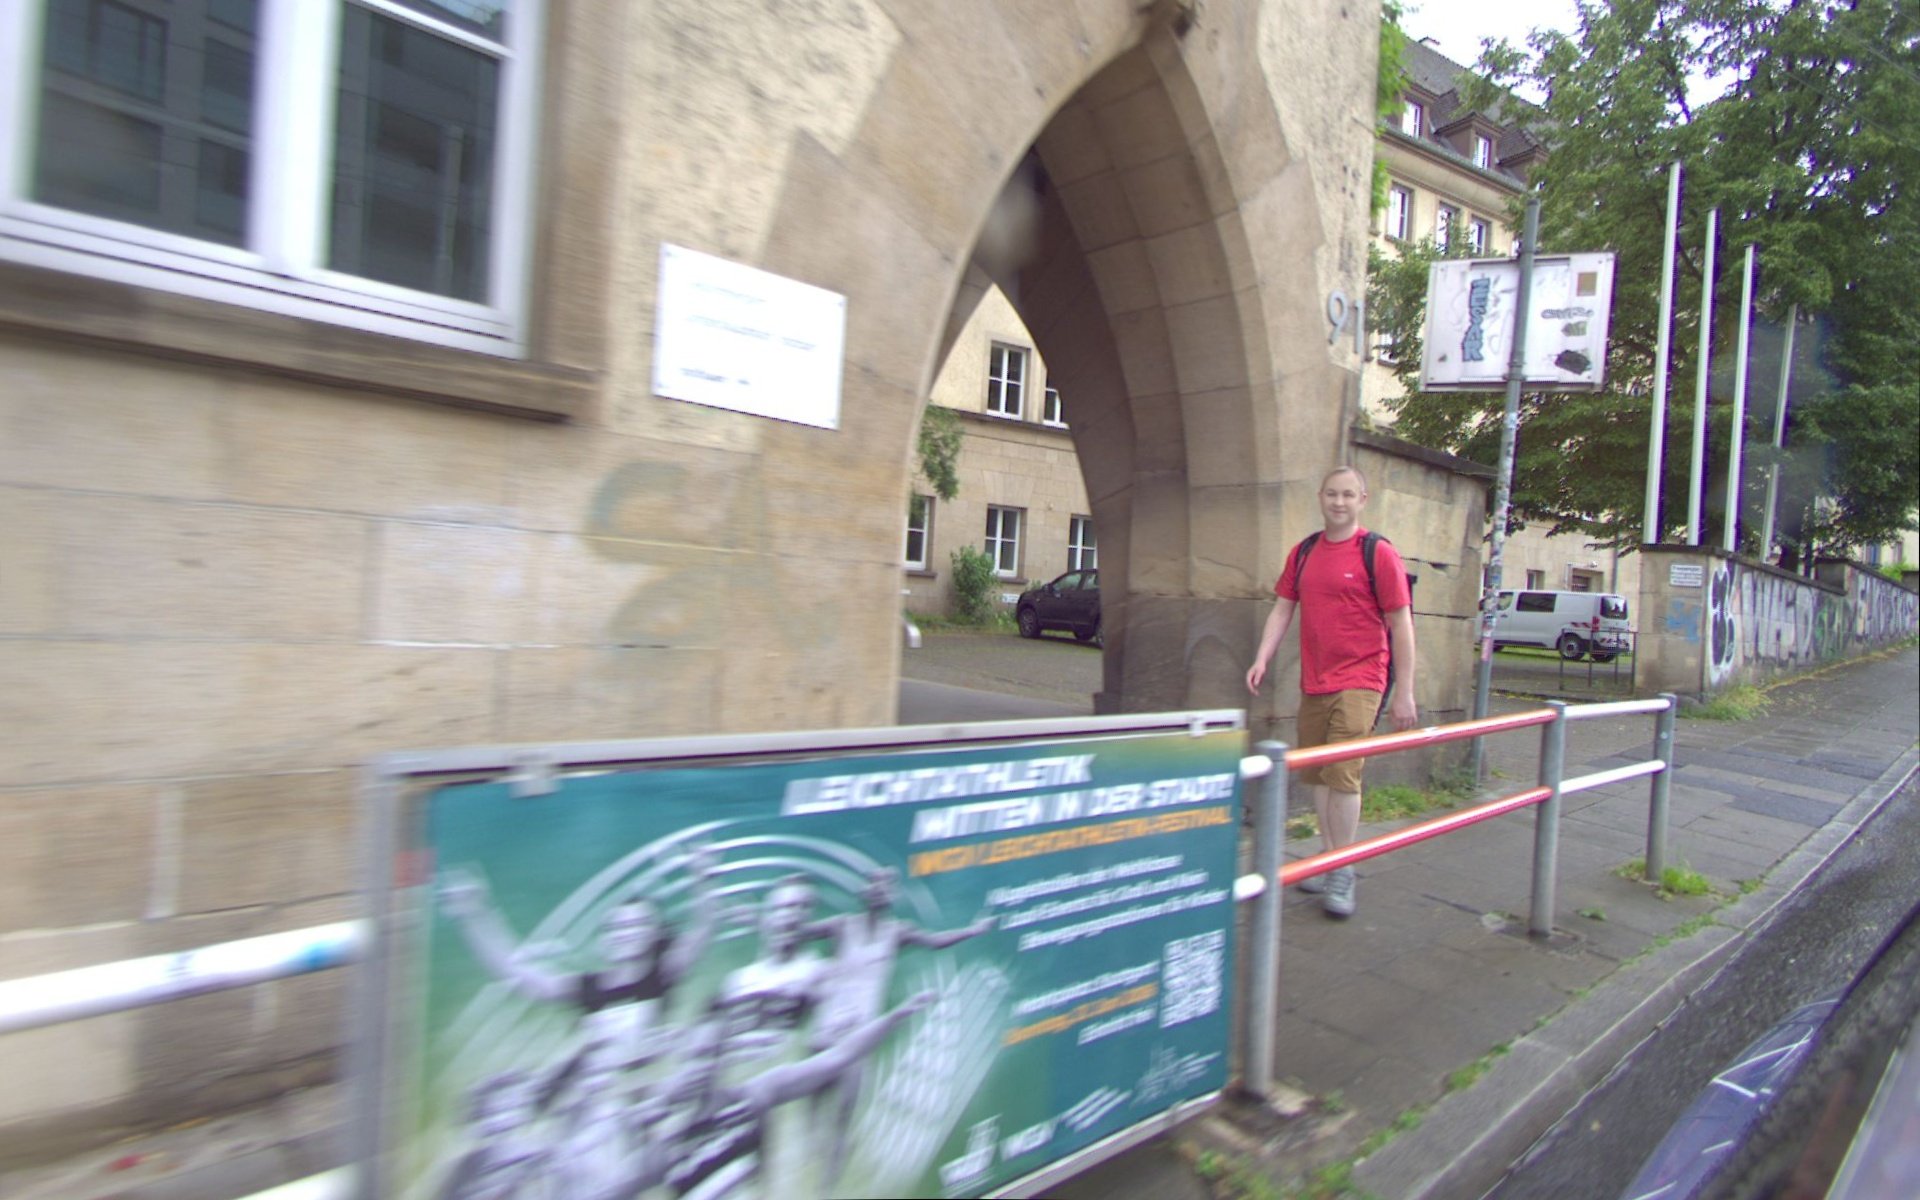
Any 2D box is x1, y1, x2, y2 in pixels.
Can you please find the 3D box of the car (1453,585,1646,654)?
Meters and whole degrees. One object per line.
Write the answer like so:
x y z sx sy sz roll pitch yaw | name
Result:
16.892 0.503 29.245 1.786 1.801 4.538 -1 1 -29 | car

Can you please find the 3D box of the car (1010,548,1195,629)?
2.810 -0.226 20.747 1.581 1.488 3.918 -1 1 -33 | car

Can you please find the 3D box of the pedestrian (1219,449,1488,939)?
1.640 0.328 4.228 0.804 1.786 0.748 -1 2 -41 | pedestrian
